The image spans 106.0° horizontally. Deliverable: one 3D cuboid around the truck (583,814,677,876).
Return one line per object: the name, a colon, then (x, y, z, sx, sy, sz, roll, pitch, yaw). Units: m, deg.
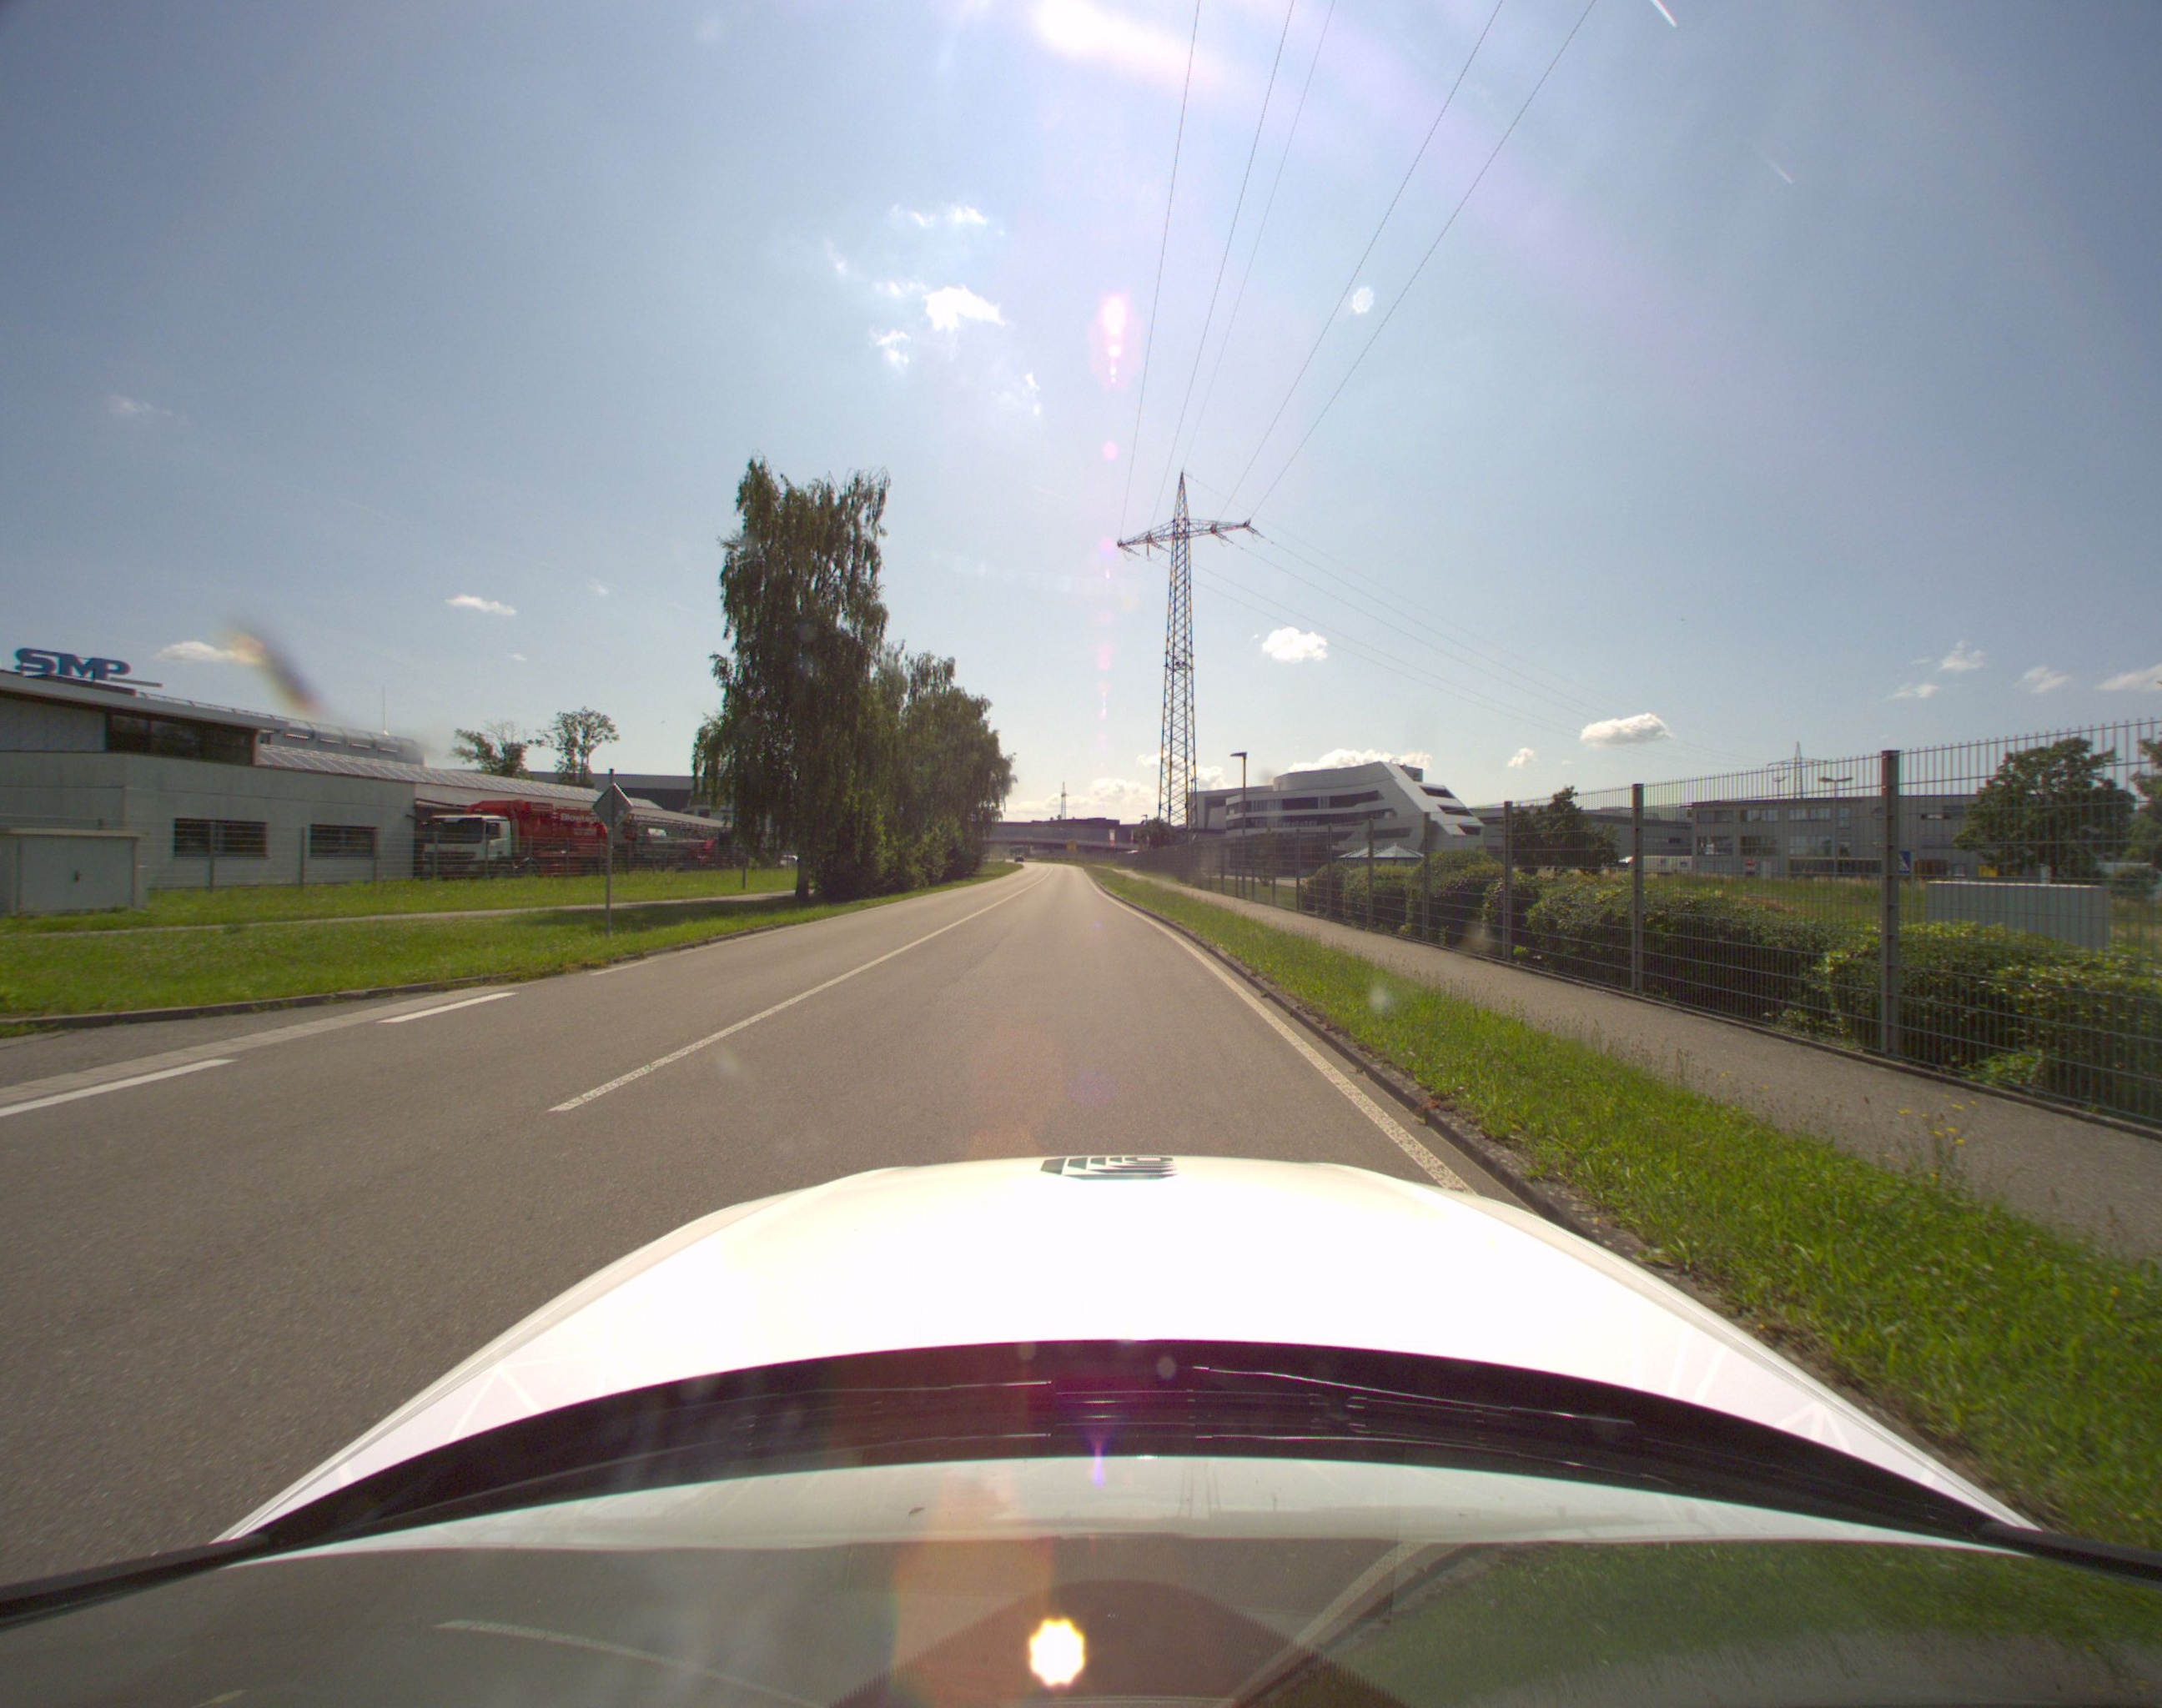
truck: (-26.766, -0.500, 48.621, 2.427, 3.452, 5.442, 1, 0, 0)

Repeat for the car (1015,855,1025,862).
car: (-13.817, 1.032, 184.709, 2.010, 1.508, 3.991, 1, 0, -7)

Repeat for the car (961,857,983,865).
car: (-20.509, 1.304, 153.055, 3.713, 1.290, 1.691, 1, 0, -31)

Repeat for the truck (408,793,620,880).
truck: (-26.286, -0.720, 38.707, 2.743, 3.558, 10.267, 1, 0, 1)
